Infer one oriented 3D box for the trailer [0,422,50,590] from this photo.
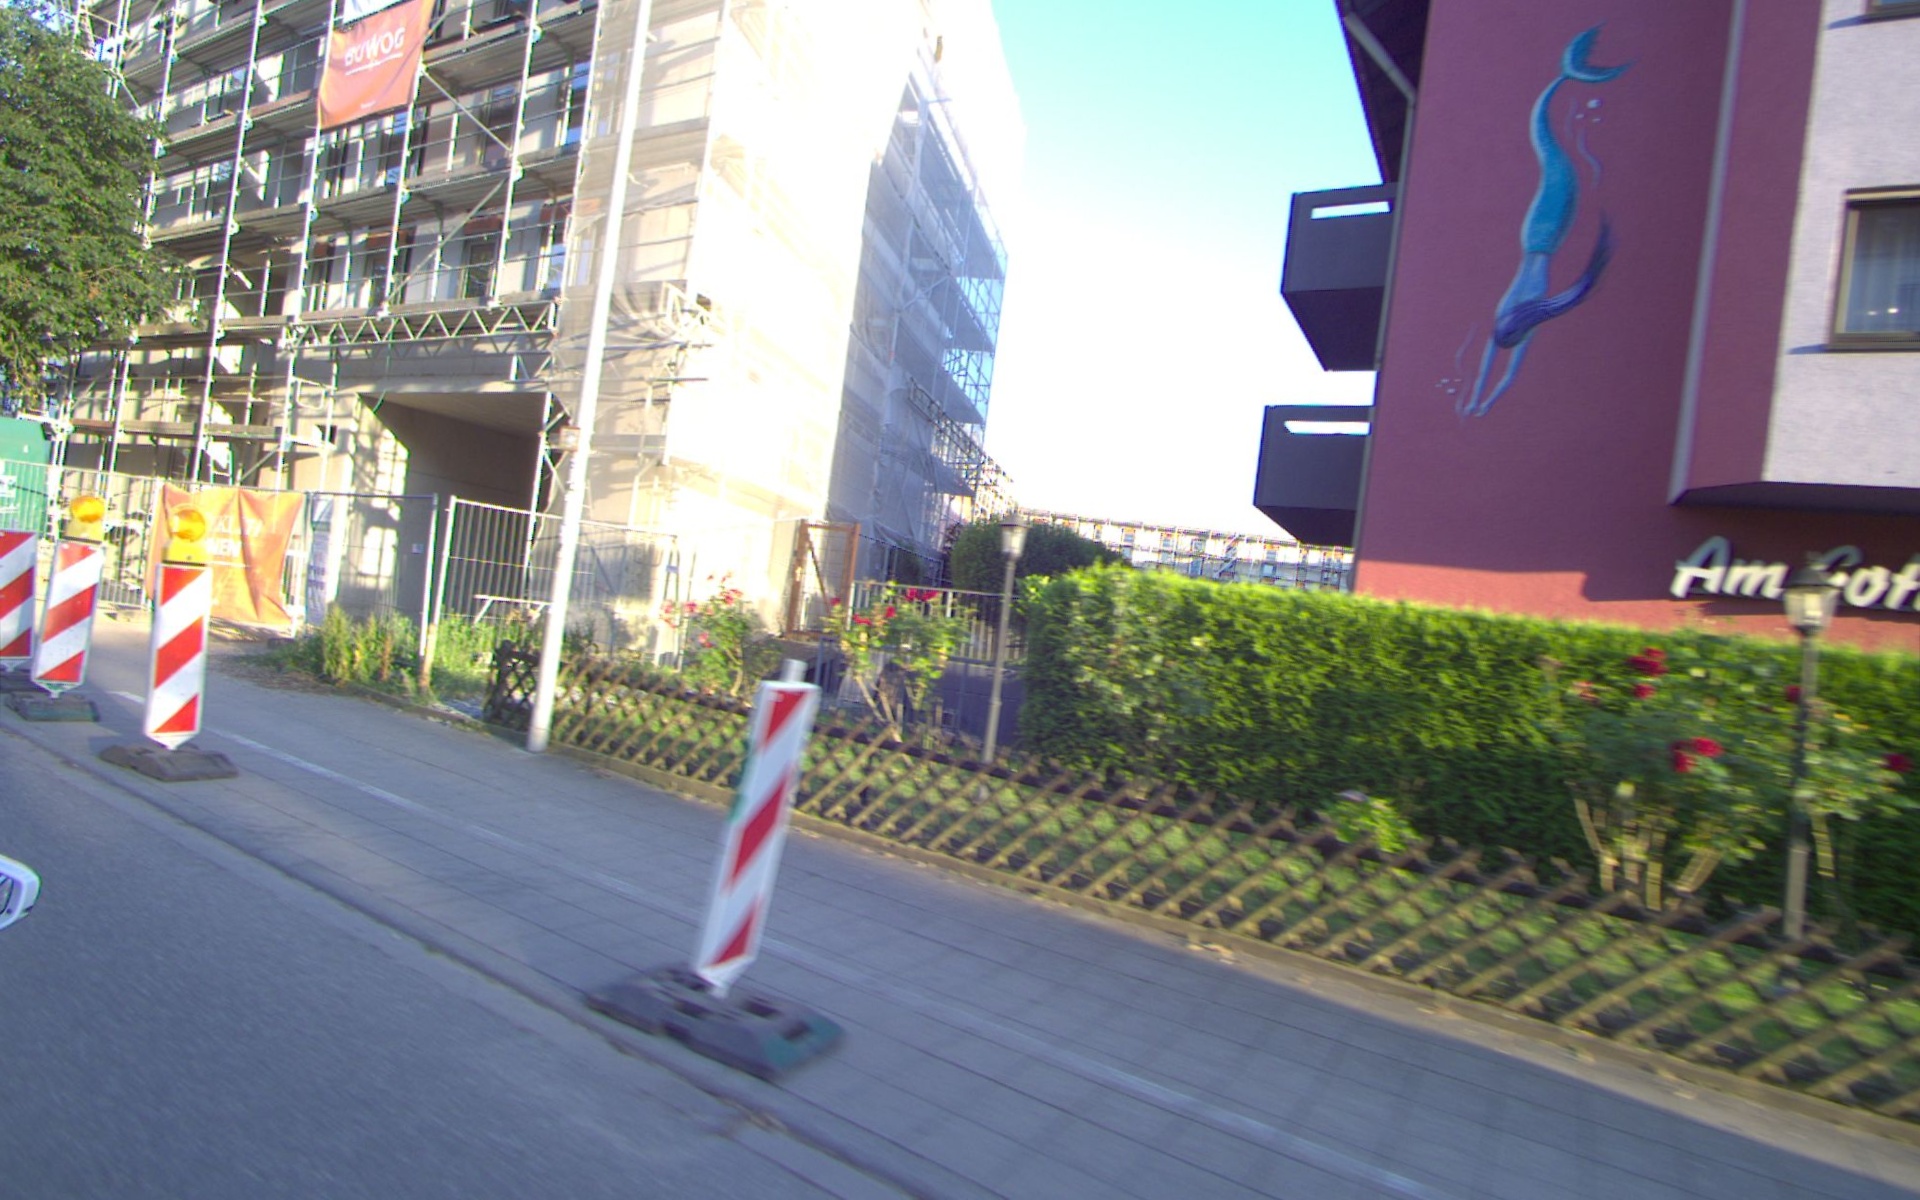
[{"bbox_3d":[-17.001,-1.751,16.407,4.117,2.570,1.997,7,-1,33],"label":"trailer"}]
